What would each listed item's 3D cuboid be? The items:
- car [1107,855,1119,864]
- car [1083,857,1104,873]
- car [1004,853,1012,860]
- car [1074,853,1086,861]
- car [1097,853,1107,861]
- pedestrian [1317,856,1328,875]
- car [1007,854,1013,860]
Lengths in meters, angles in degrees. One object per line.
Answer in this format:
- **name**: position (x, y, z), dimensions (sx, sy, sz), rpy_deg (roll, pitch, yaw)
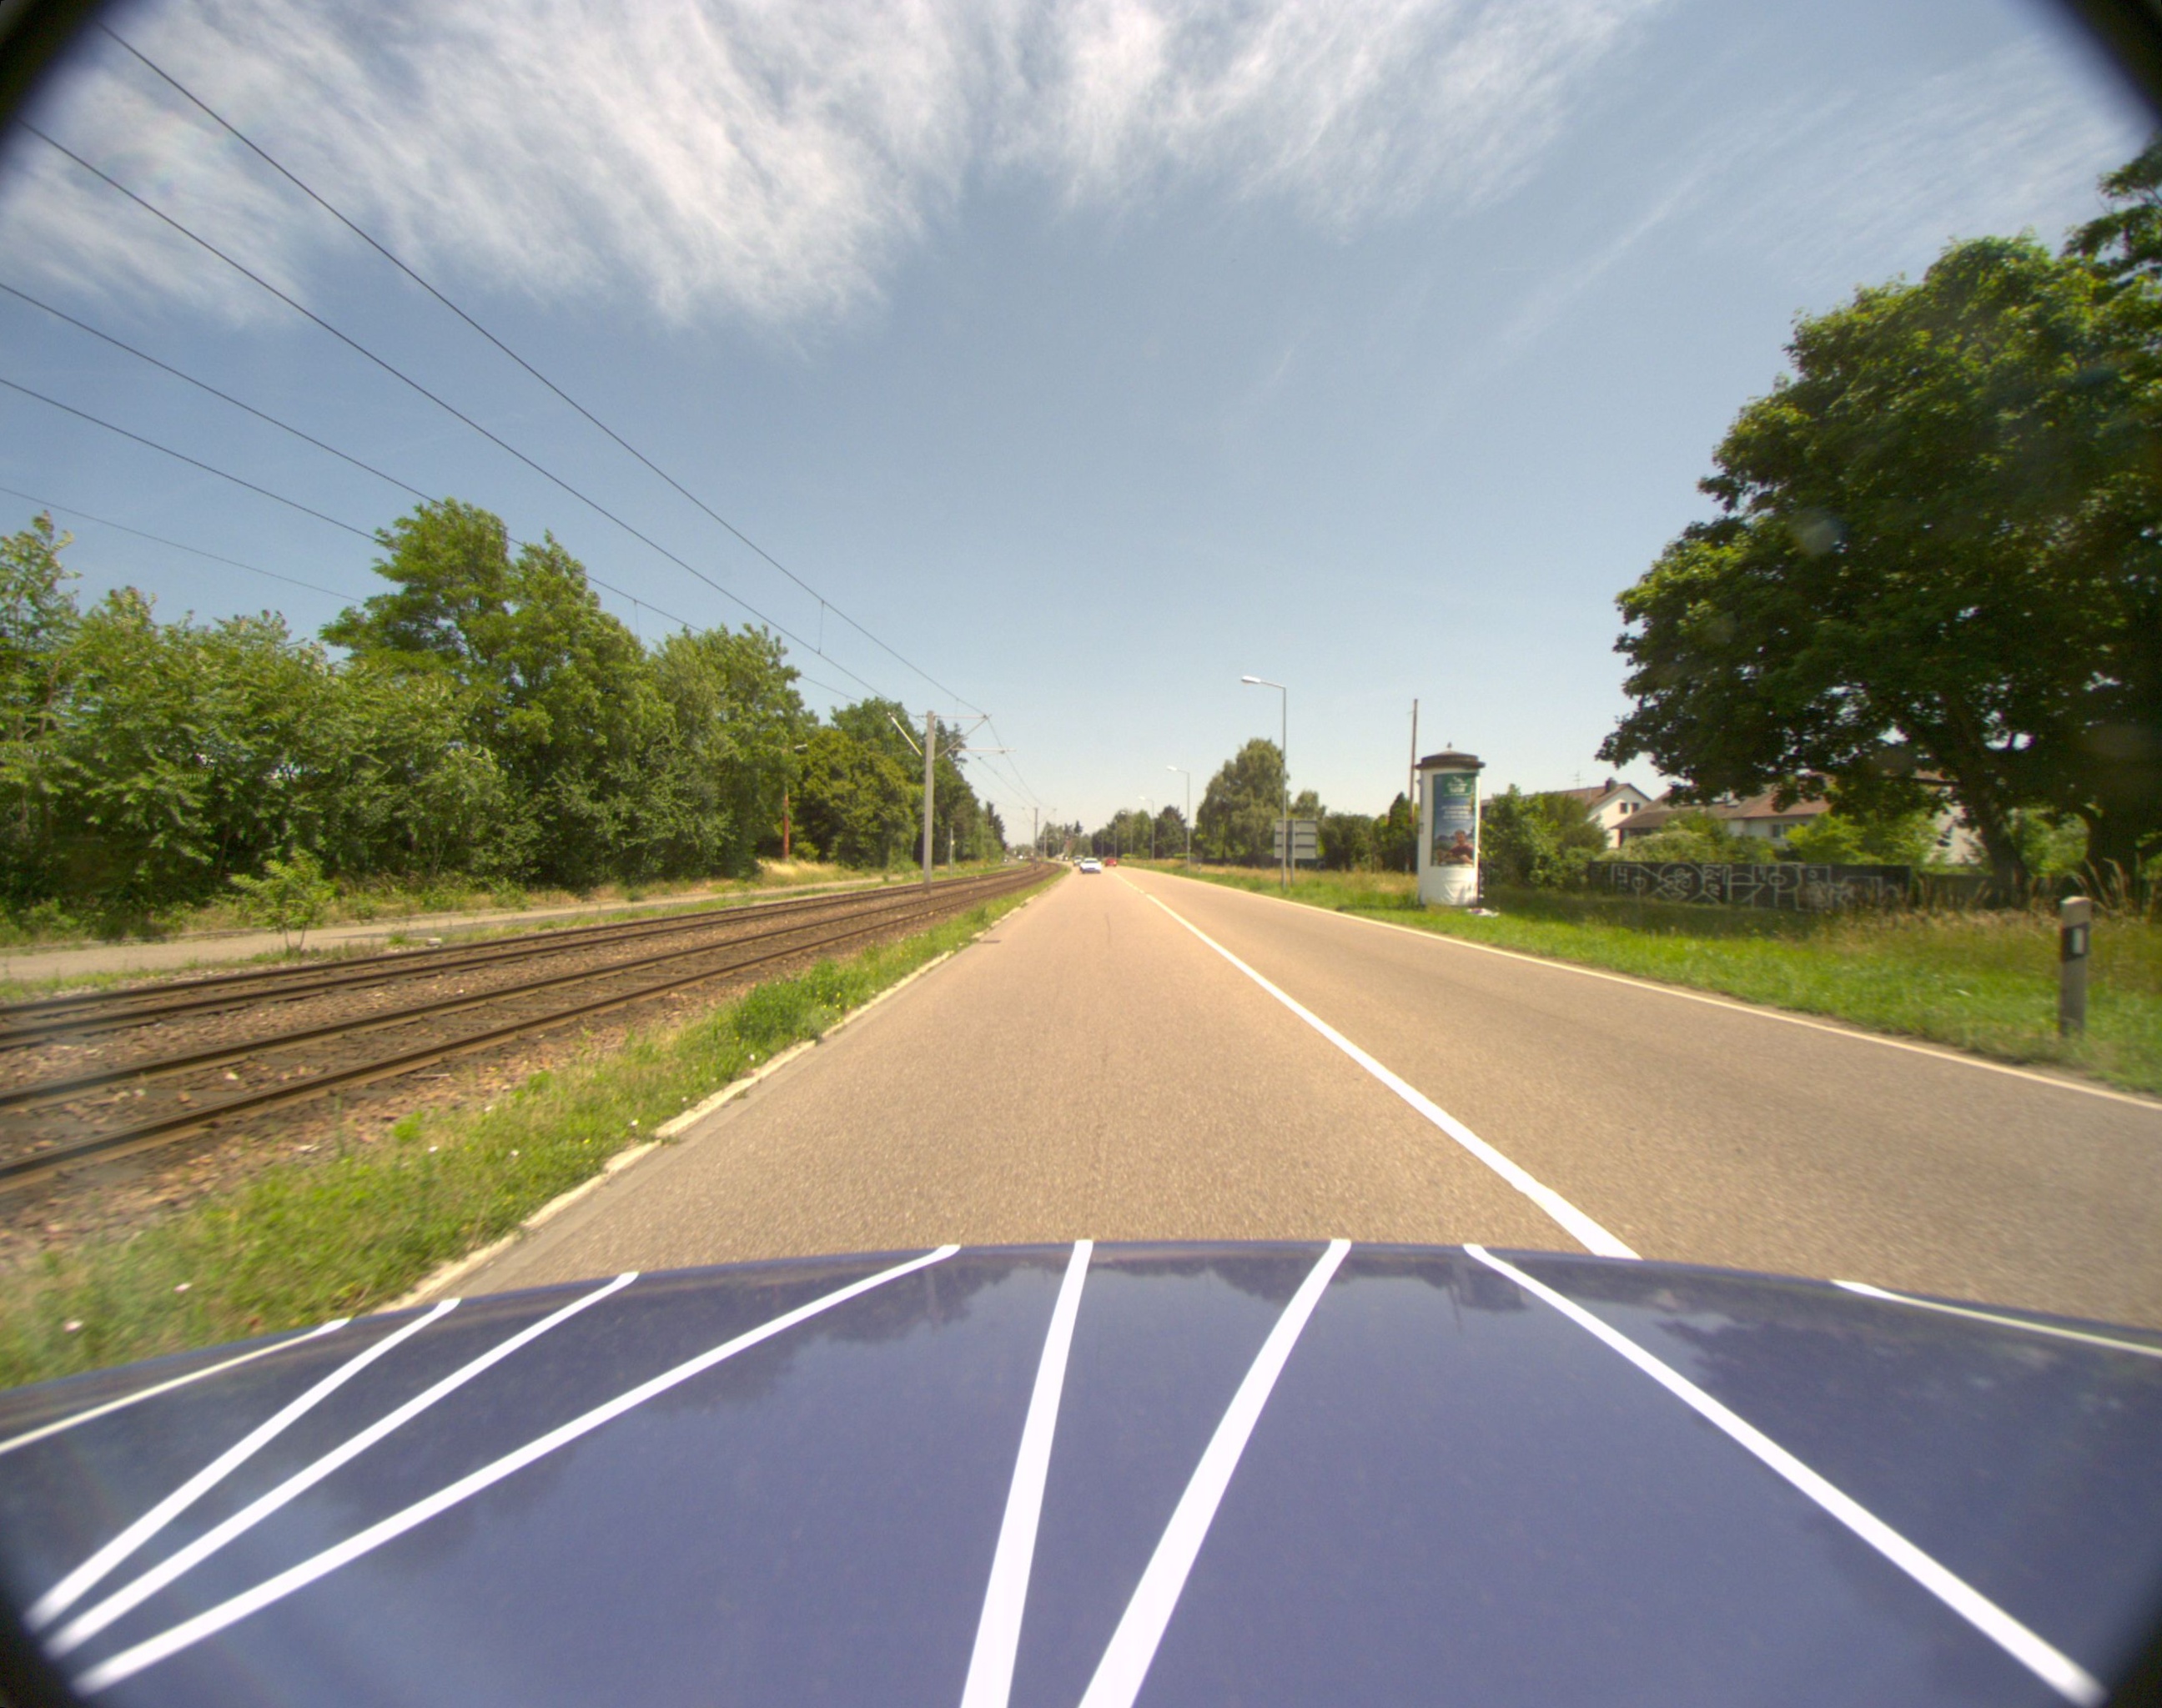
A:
- **car**: position (5.162, 0.933, 122.173), dimensions (1.683, 1.391, 3.999), rpy_deg (0, 0, -1)
- **car**: position (1.215, 0.996, 73.337), dimensions (1.954, 1.467, 4.361), rpy_deg (0, 0, 1)
- **car**: position (-20.267, 0.701, 210.904), dimensions (1.999, 1.710, 3.999), rpy_deg (-2, 1, -2)
- **car**: position (-0.204, 0.550, 137.531), dimensions (1.892, 1.456, 3.998), rpy_deg (1, 0, -4)
- **car**: position (4.387, 0.557, 157.558), dimensions (1.689, 1.561, 3.966), rpy_deg (-2, 1, -2)
- **pedestrian**: position (17.808, 0.843, 56.136), dimensions (0.582, 1.347, 0.799), rpy_deg (0, 0, 3)
- **car**: position (-22.793, 0.888, 243.374), dimensions (1.947, 1.685, 3.998), rpy_deg (-2, 1, -5)
